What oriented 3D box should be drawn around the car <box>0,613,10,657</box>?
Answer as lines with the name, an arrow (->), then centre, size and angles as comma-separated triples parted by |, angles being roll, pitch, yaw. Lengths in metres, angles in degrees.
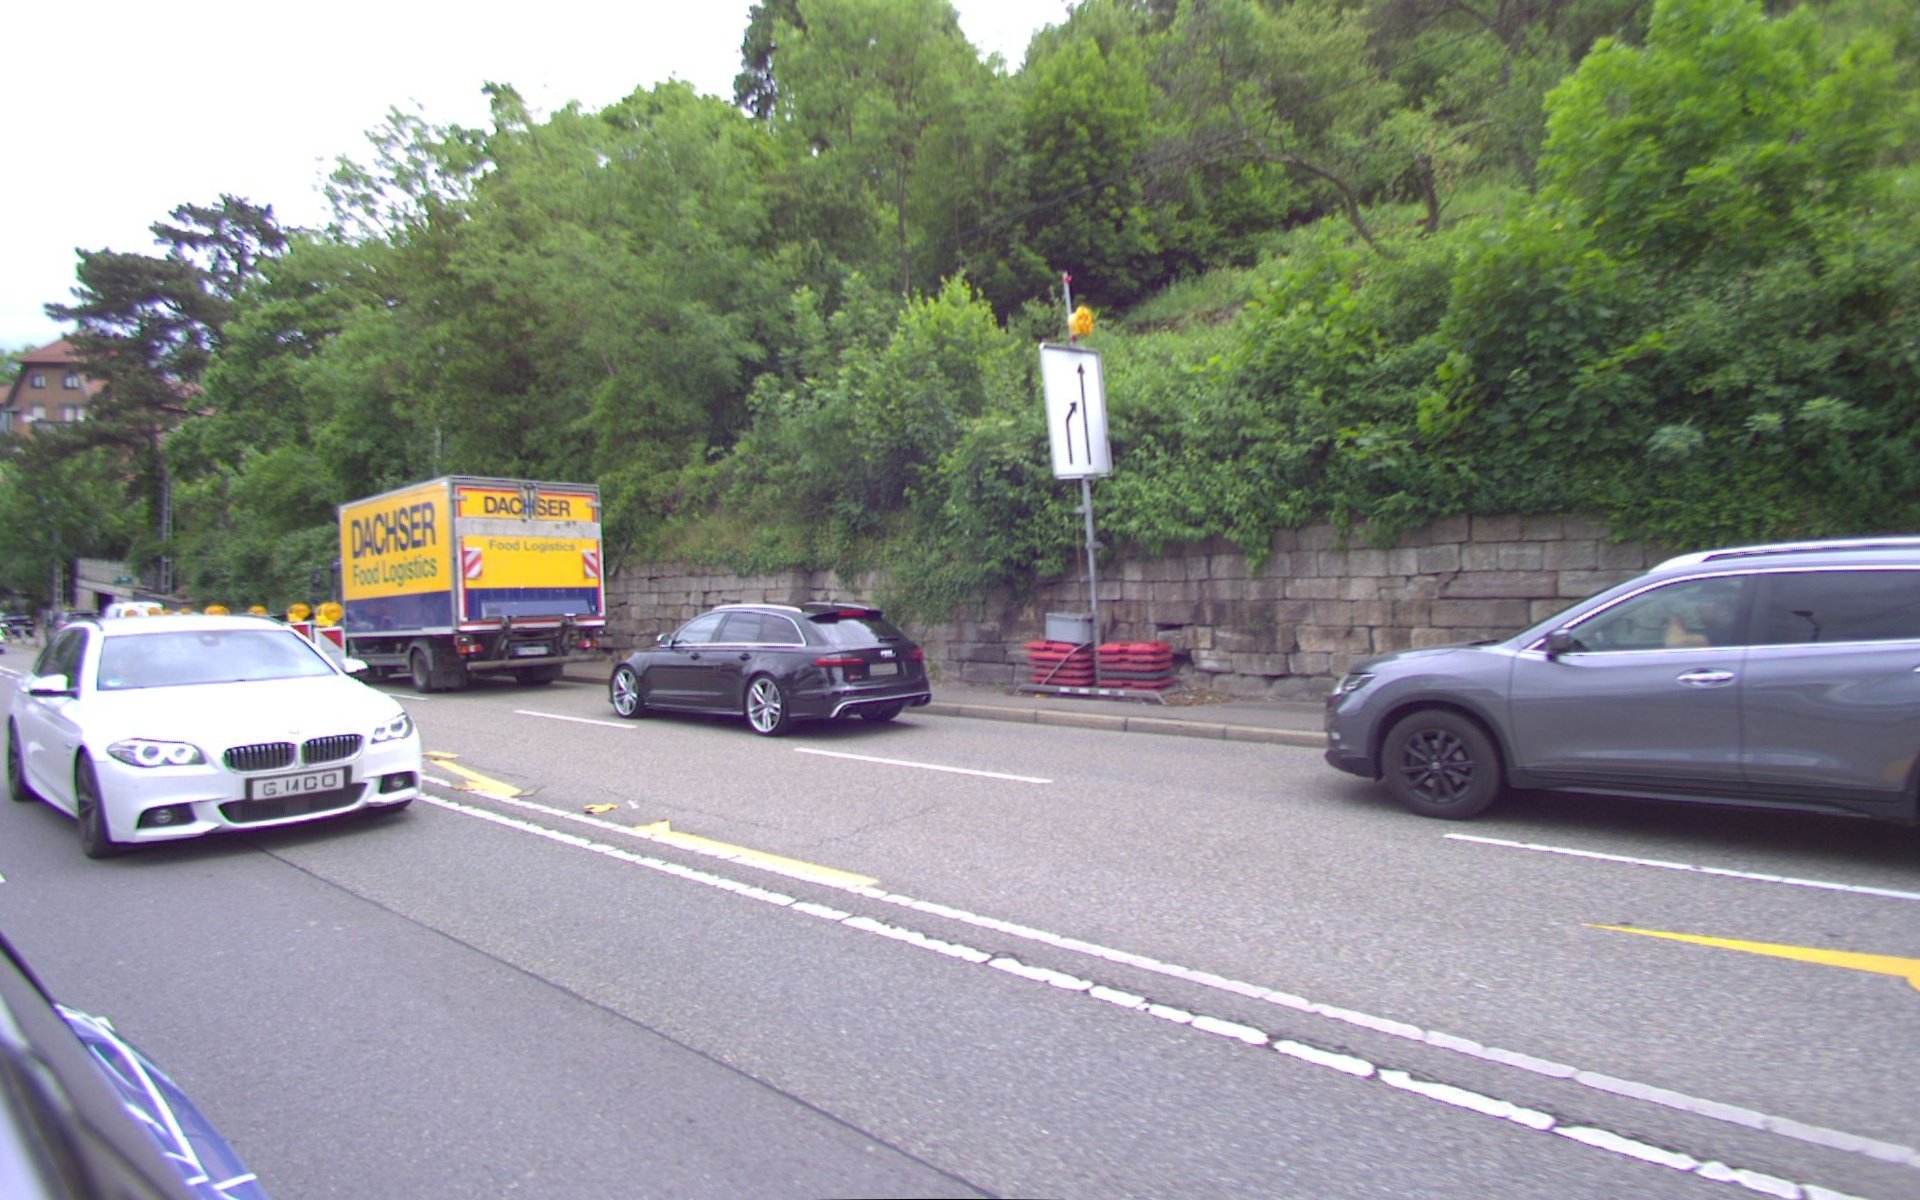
car -> -36.700, 1.317, 37.626 | 4.002, 1.590, 1.860 | 0, 1, 45

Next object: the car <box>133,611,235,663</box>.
car -> -25.527, 1.158, 33.238 | 4.309, 1.519, 1.773 | -1, 1, 41

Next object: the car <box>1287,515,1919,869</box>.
car -> 4.625, 0.443, 6.119 | 4.669, 1.710, 1.864 | -1, 0, 41

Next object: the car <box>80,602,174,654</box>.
car -> -31.535, 1.021, 38.289 | 4.335, 1.804, 1.786 | -1, 1, 38

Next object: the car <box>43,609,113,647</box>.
car -> -40.655, 1.243, 46.613 | 4.652, 1.604, 1.812 | -1, 1, 41

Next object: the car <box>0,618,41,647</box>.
car -> -54.263, 1.851, 58.022 | 4.316, 1.496, 1.810 | -1, 2, 42

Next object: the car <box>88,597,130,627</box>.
car -> -56.205, 0.770, 66.839 | 3.586, 1.616, 1.552 | 5, 5, 41

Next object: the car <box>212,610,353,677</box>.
car -> -17.113, 1.023, 25.485 | 4.743, 1.452, 1.752 | -1, 1, 41

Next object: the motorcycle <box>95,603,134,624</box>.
motorcycle -> -54.564, 0.860, 65.321 | 0.637, 1.191, 1.818 | 5, 5, 44

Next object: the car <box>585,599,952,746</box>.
car -> -2.515, 0.759, 12.414 | 4.872, 1.440, 1.791 | -1, 0, 41

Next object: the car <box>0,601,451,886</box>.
car -> -5.931, 0.806, 7.758 | 4.875, 1.478, 1.829 | -1, 1, 40

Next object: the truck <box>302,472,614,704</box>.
truck -> -9.616, -0.168, 18.941 | 7.348, 3.536, 2.702 | -1, 0, 42
